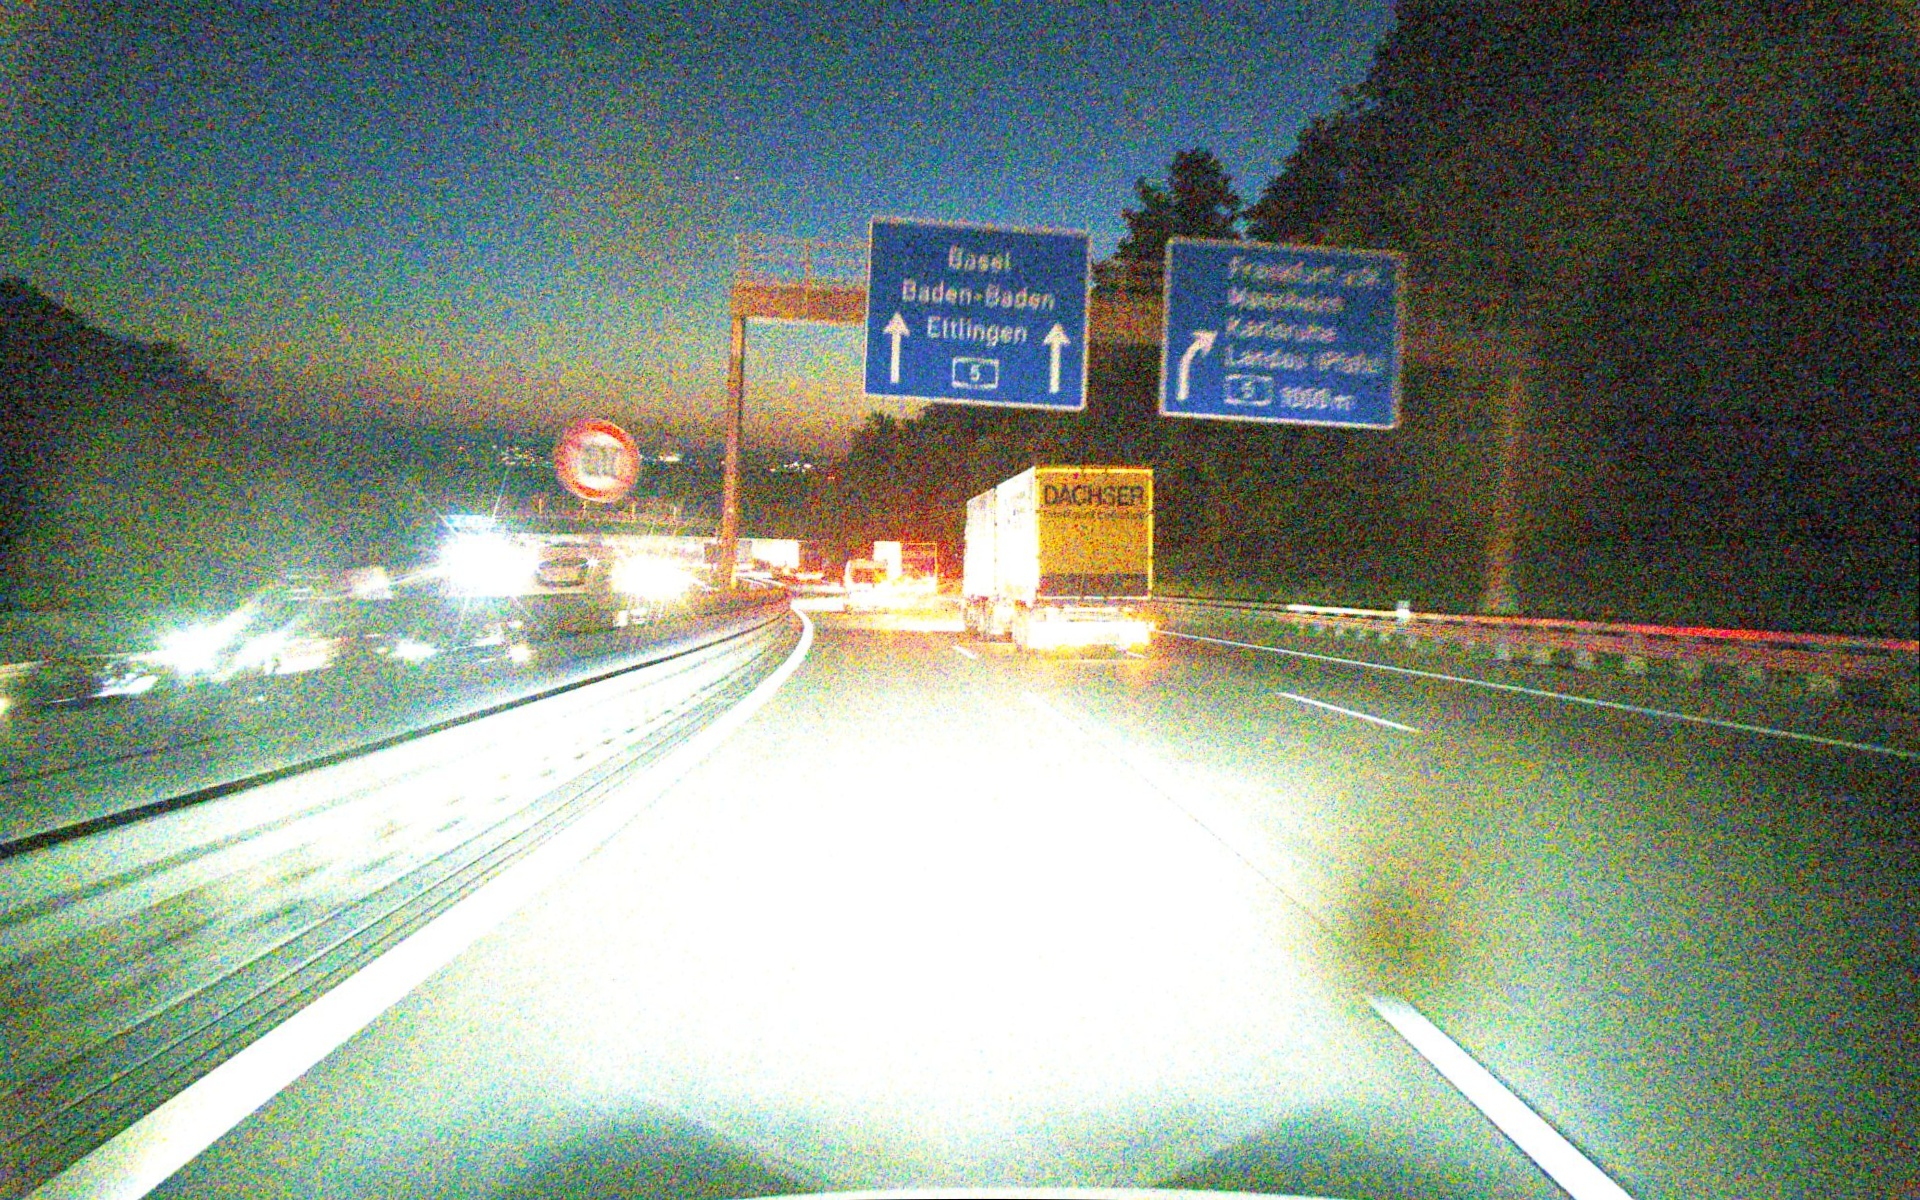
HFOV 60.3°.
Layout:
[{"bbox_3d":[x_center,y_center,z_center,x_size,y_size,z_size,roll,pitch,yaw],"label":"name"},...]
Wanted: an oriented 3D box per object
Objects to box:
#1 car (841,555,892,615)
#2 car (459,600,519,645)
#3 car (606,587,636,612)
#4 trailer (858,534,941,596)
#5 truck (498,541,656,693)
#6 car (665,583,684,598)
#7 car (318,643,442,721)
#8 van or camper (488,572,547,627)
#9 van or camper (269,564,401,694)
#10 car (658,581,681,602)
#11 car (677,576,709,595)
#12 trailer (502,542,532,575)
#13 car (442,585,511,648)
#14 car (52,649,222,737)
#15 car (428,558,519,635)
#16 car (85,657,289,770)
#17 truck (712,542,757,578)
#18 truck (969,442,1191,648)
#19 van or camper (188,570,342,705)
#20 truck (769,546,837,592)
[{"bbox_3d":[-4.388,-0.683,78.289,2.290,2.686,5.244,1,0,-3],"label":"car"},{"bbox_3d":[-21.628,0.991,76.127,1.799,1.892,5.438,-1,1,-7],"label":"car"},{"bbox_3d":[-22.264,-0.063,108.691,1.576,1.505,4.068,-2,1,-7],"label":"car"},{"bbox_3d":[-4.465,-2.607,117.855,2.808,4.137,13.149,-1,2,-16],"label":"trailer"},{"bbox_3d":[-10.061,0.392,44.367,2.601,3.654,8.545,1,0,-3],"label":"truck"},{"bbox_3d":[-25.159,-0.850,145.665,1.394,1.278,3.118,-1,2,-14],"label":"car"},{"bbox_3d":[-12.692,1.758,36.416,1.569,1.467,4.134,-1,0,-5],"label":"car"},{"bbox_3d":[-23.454,-0.061,87.884,2.401,2.809,6.474,-1,1,-10],"label":"van or camper"},{"bbox_3d":[-17.714,0.744,47.176,2.226,3.438,5.685,-1,1,-8],"label":"van or camper"},{"bbox_3d":[-25.939,-0.763,147.665,1.653,1.593,3.984,-4,-1,-15],"label":"car"},{"bbox_3d":[-19.717,-1.091,122.035,1.727,1.378,4.270,-1,1,-18],"label":"car"},{"bbox_3d":[-59.898,-5.649,223.424,2.797,4.243,13.211,-3,3,-19],"label":"trailer"},{"bbox_3d":[-19.405,0.617,66.585,1.799,2.412,5.438,-1,1,-7],"label":"car"},{"bbox_3d":[-16.223,1.793,32.826,1.569,1.467,3.997,-1,0,-4],"label":"car"},{"bbox_3d":[-13.547,-0.119,46.264,1.957,2.049,3.991,0,1,-10],"label":"car"},{"bbox_3d":[-12.143,1.732,26.259,1.569,1.467,3.997,-1,0,-4],"label":"car"},{"bbox_3d":[-30.177,-5.440,220.962,3.293,4.553,13.839,2,1,-18],"label":"truck"},{"bbox_3d":[2.537,-1.192,43.473,3.413,4.207,18.697,1,0,-3],"label":"truck"},{"bbox_3d":[-16.864,0.814,40.498,1.799,3.023,6.390,-1,1,-7],"label":"van or camper"},{"bbox_3d":[-17.449,-3.537,182.140,3.851,4.707,20.933,-1,2,-15],"label":"truck"}]
